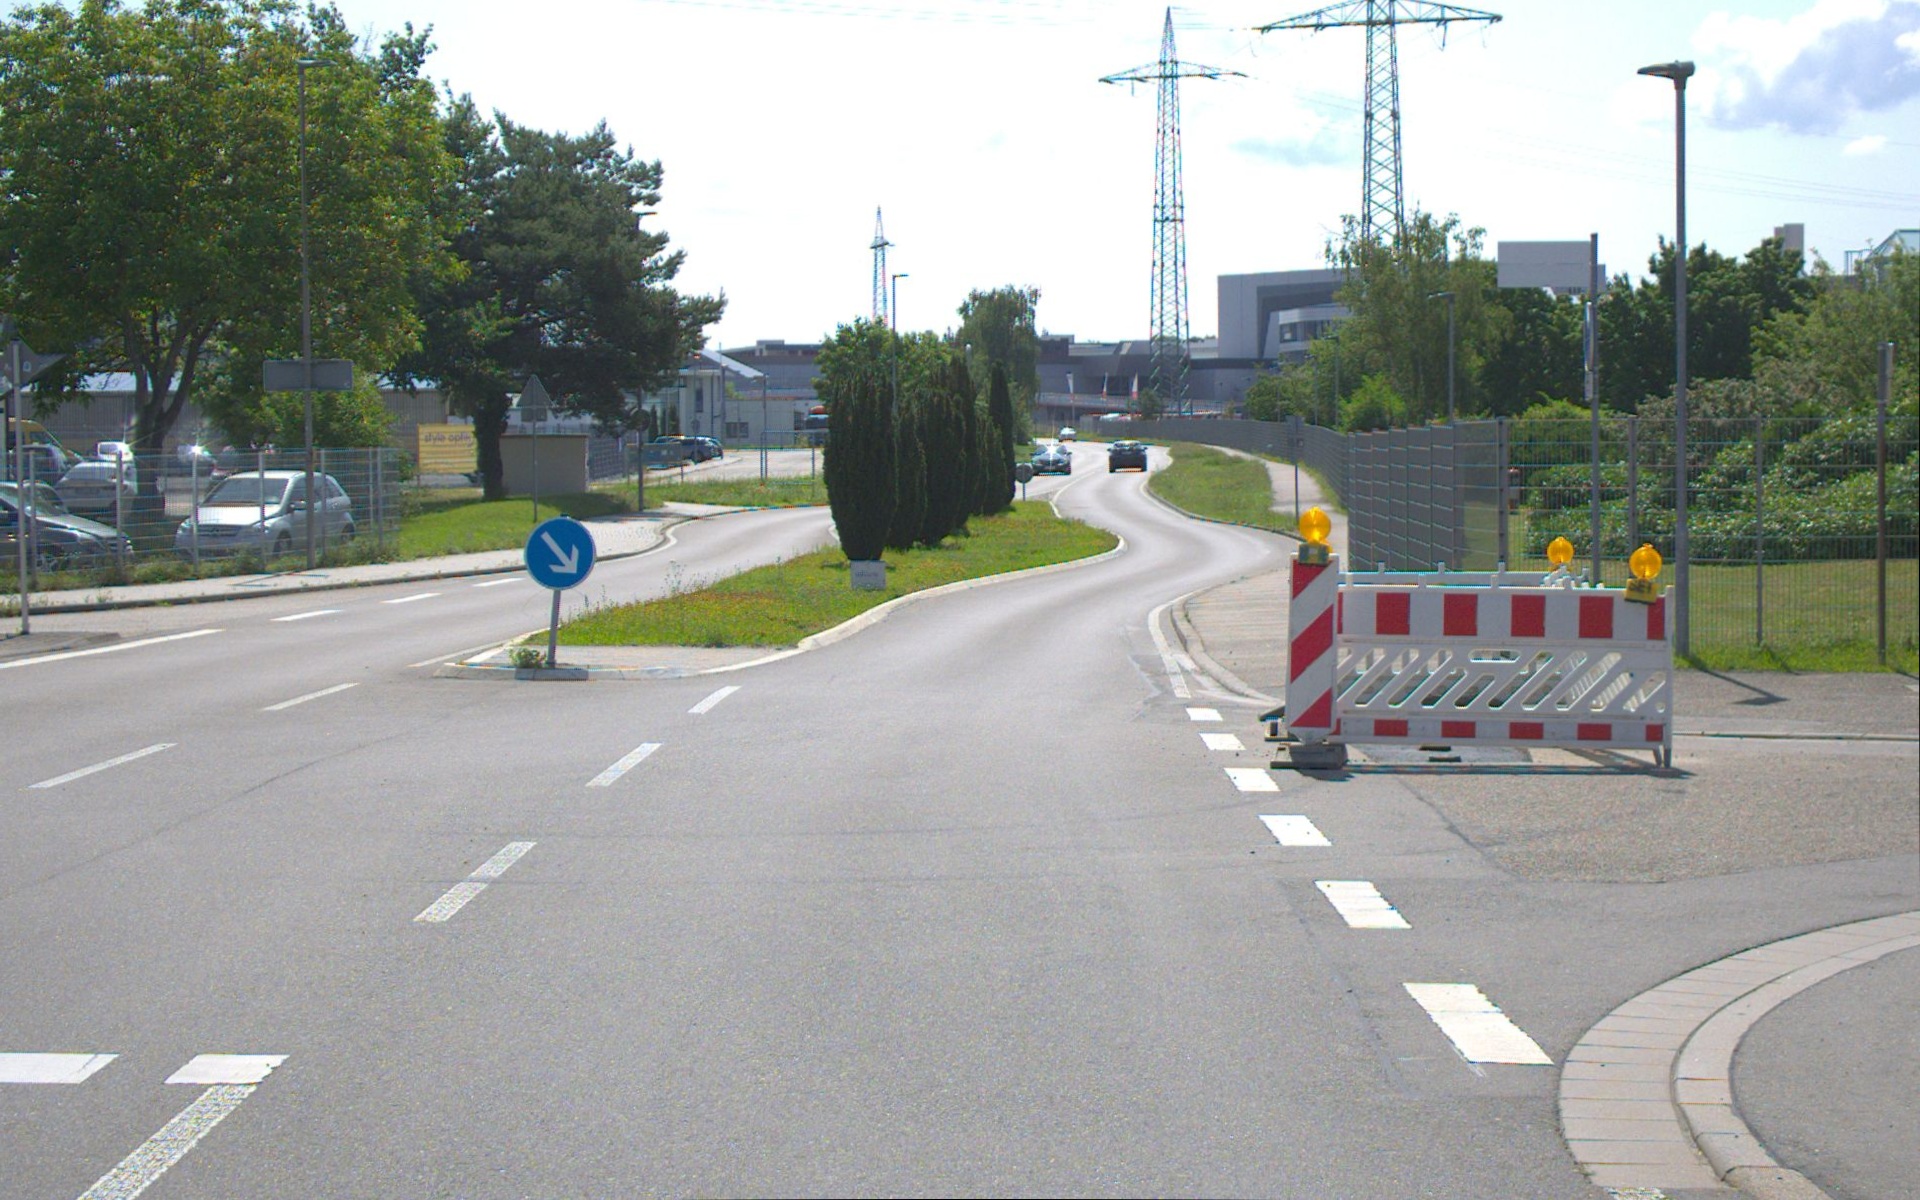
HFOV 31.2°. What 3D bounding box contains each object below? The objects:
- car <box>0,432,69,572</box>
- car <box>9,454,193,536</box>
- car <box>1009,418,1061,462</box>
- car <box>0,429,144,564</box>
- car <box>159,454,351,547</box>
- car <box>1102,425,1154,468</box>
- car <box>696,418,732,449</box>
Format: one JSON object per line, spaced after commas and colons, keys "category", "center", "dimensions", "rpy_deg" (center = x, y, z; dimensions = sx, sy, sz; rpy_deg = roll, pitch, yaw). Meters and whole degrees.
{"category": "car", "center": [-14.851, -1.426, 48.515], "dimensions": [3.992, 1.897, 1.998], "rpy_deg": [2, 4, 22]}
{"category": "car", "center": [-19.486, -2.399, 78.163], "dimensions": [3.986, 1.844, 1.835], "rpy_deg": [-1, 2, -12]}
{"category": "car", "center": [3.621, -7.776, 166.883], "dimensions": [2.491, 2.006, 4.666], "rpy_deg": [1, 4, 1]}
{"category": "car", "center": [-14.365, -1.572, 50.918], "dimensions": [3.991, 1.897, 1.998], "rpy_deg": [2, 4, 20]}
{"category": "car", "center": [-11.852, -1.698, 58.005], "dimensions": [1.829, 1.512, 3.587], "rpy_deg": [0, 2, 13]}
{"category": "car", "center": [8.248, -7.585, 169.537], "dimensions": [2.272, 1.940, 4.666], "rpy_deg": [3, 3, 0]}
{"category": "car", "center": [-16.320, -11.065, 228.536], "dimensions": [1.993, 2.006, 4.000], "rpy_deg": [0, 2, 2]}
